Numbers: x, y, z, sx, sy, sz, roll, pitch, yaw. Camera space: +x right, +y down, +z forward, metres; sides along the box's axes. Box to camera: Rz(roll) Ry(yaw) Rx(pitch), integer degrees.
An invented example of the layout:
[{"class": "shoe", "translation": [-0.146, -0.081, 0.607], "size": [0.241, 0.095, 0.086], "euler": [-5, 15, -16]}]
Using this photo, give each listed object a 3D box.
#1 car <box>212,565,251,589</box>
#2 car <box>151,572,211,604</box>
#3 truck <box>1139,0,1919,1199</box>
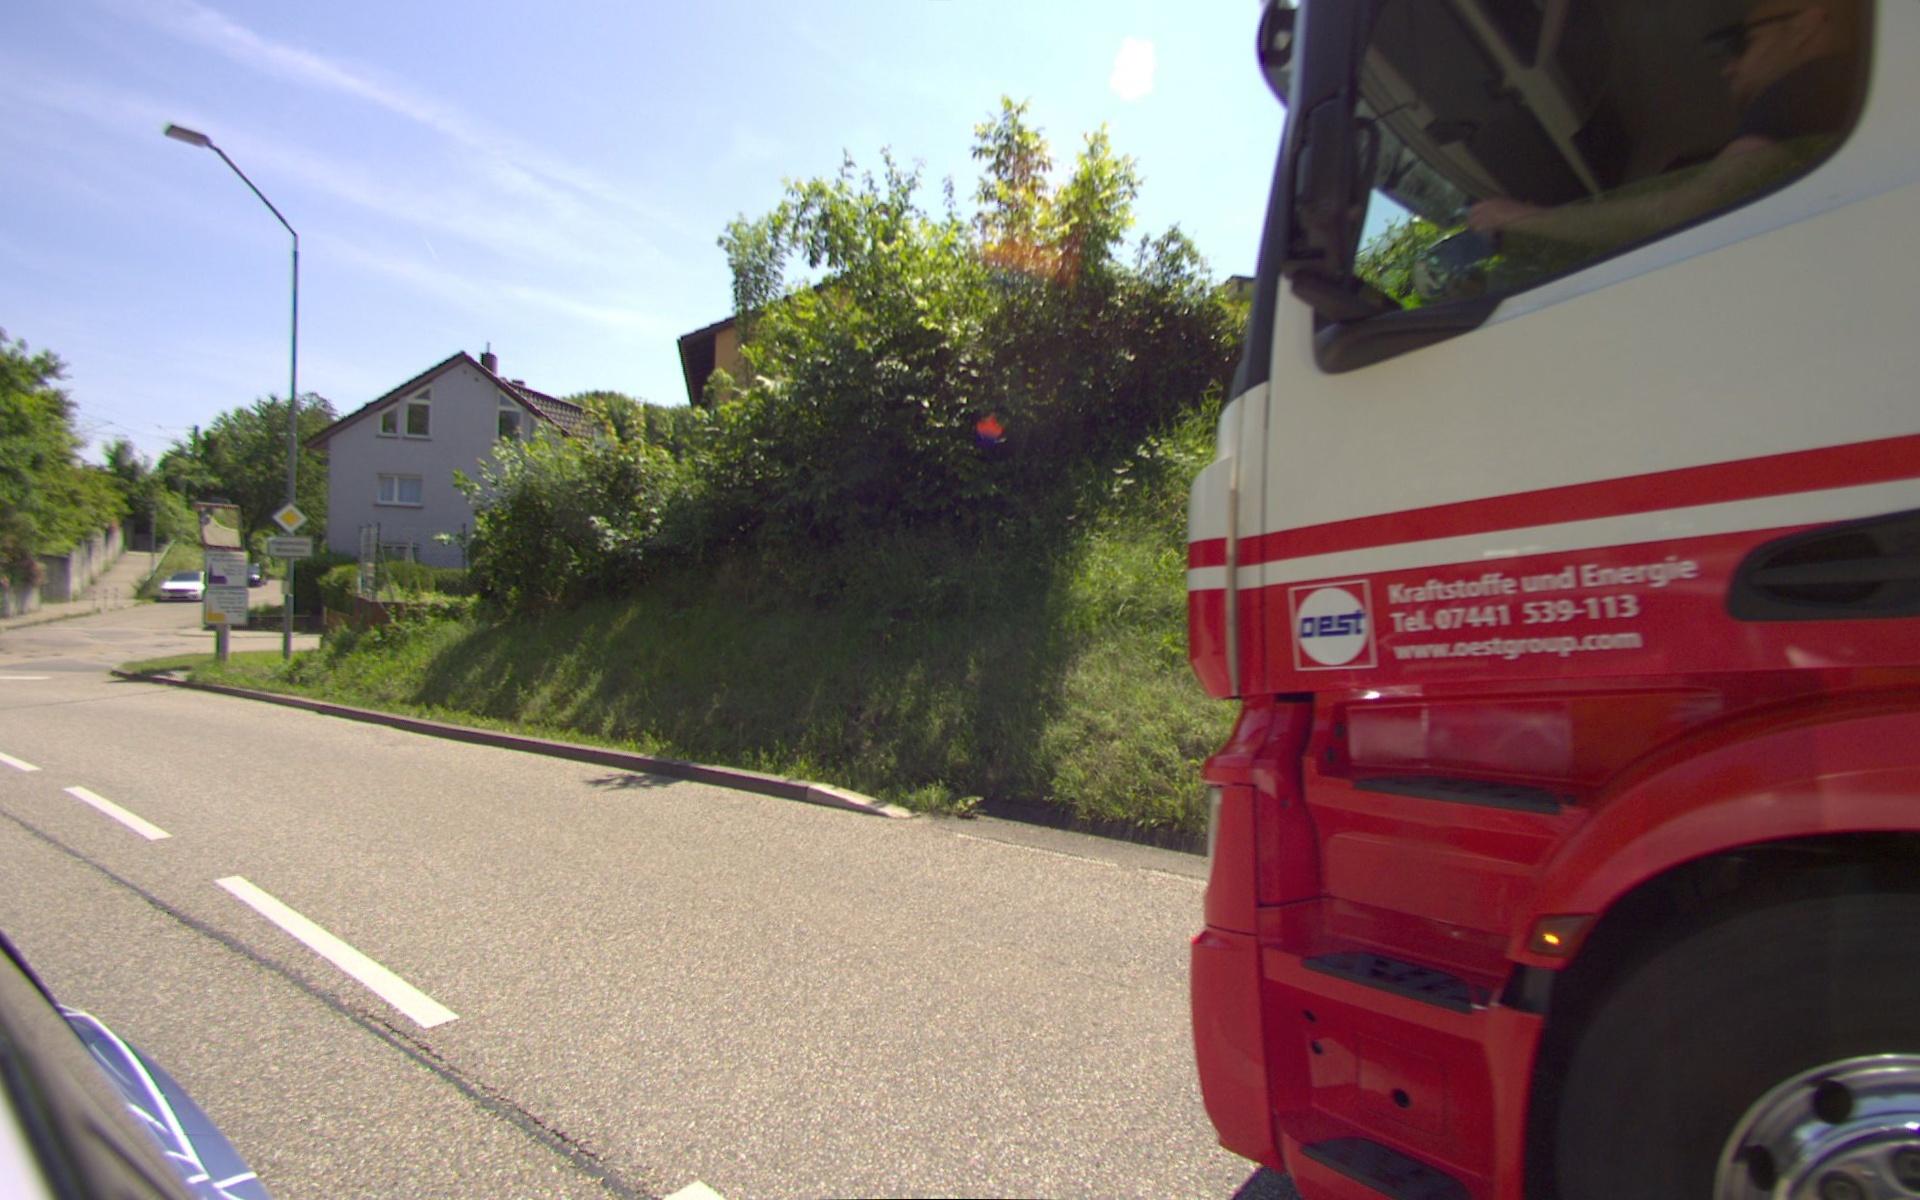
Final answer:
[{"class": "car", "translation": [-48.601, -1.587, 67.551], "size": [1.721, 1.399, 4.013], "euler": [-1, 4, -31]}, {"class": "car", "translation": [-40.862, -0.674, 53.162], "size": [1.966, 1.518, 4.013], "euler": [-1, 4, -30]}, {"class": "truck", "translation": [3.822, -0.298, 0.681], "size": [7.070, 3.194, 2.596], "euler": [0, 0, 44]}]
